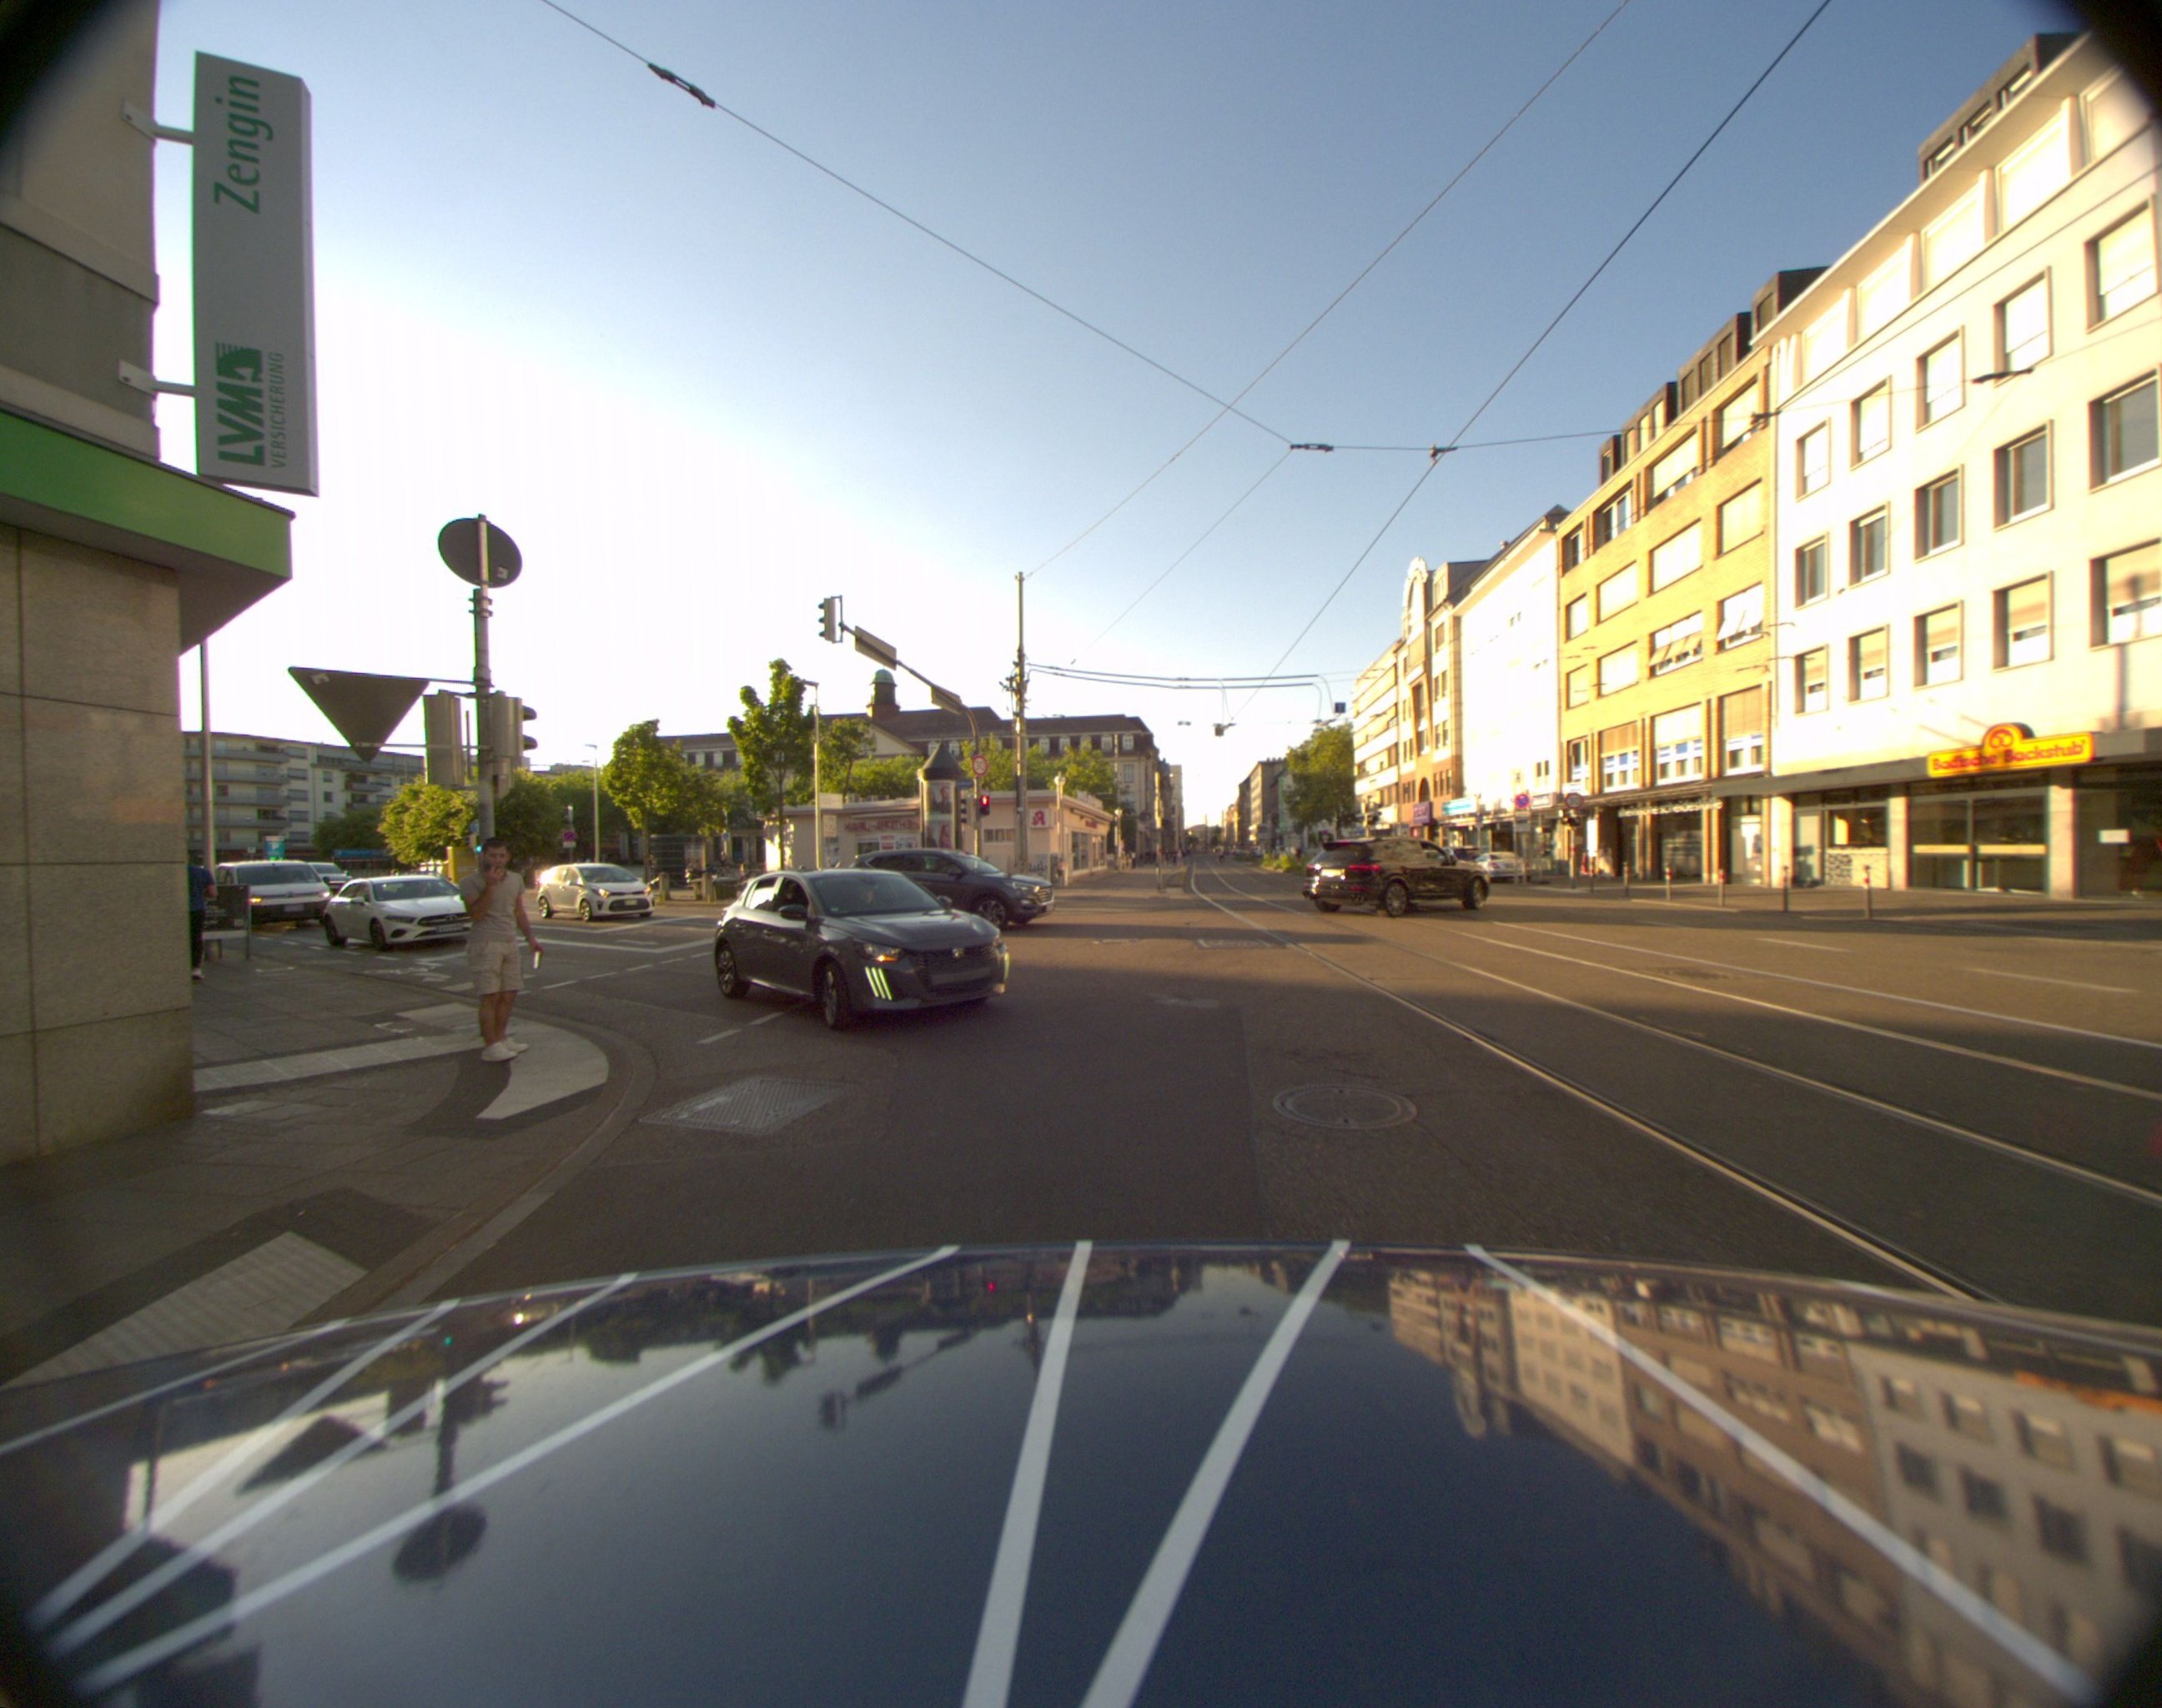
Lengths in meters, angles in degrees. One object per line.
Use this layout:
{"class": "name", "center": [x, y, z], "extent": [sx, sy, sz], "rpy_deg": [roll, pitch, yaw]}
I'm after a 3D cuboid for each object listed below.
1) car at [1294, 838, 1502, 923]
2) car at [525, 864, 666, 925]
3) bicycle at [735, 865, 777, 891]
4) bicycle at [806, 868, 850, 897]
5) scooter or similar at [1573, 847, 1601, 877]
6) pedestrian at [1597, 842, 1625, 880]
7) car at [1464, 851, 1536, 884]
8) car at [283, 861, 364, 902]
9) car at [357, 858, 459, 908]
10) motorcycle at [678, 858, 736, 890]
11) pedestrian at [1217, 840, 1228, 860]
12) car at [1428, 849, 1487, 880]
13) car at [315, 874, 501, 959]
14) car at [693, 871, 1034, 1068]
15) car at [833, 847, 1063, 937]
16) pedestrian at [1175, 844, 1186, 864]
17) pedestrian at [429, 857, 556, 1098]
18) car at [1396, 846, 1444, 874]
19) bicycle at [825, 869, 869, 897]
{"class": "car", "center": [7.172, 0.516, 17.114], "extent": [4.575, 1.688, 1.802], "rpy_deg": [-1, 1, -27]}
{"class": "car", "center": [-13.282, 1.049, 20.729], "extent": [3.974, 1.463, 1.723], "rpy_deg": [-1, 1, 33]}
{"class": "bicycle", "center": [-14.567, 1.049, 34.130], "extent": [0.395, 1.096, 1.815], "rpy_deg": [-1, 1, 32]}
{"class": "bicycle", "center": [-10.535, 1.177, 31.694], "extent": [0.447, 1.107, 1.876], "rpy_deg": [0, 1, 33]}
{"class": "scooter or similar", "center": [21.718, 0.341, 32.639], "extent": [0.395, 1.251, 1.467], "rpy_deg": [-2, 0, 10]}
{"class": "pedestrian", "center": [21.188, 0.274, 30.398], "extent": [0.544, 1.463, 0.625], "rpy_deg": [-4, 0, -7]}
{"class": "car", "center": [18.150, 0.573, 33.064], "extent": [1.635, 1.246, 3.391], "rpy_deg": [-4, -1, 9]}
{"class": "car", "center": [-34.439, 1.215, 34.531], "extent": [3.974, 1.730, 1.833], "rpy_deg": [-1, -1, 33]}
{"class": "car", "center": [-25.109, 1.042, 28.322], "extent": [3.974, 1.730, 1.833], "rpy_deg": [-1, -1, 33]}
{"class": "motorcycle", "center": [-17.481, 0.918, 35.593], "extent": [0.699, 1.437, 2.405], "rpy_deg": [-1, 1, 32]}
{"class": "pedestrian", "center": [14.872, -0.406, 79.726], "extent": [0.716, 2.003, 0.839], "rpy_deg": [-4, 4, -28]}
{"class": "car", "center": [18.629, 0.509, 37.774], "extent": [1.635, 1.345, 3.391], "rpy_deg": [-4, -1, 9]}
{"class": "car", "center": [-14.253, 1.213, 16.053], "extent": [3.974, 1.463, 1.832], "rpy_deg": [-1, 2, 32]}
{"class": "car", "center": [-2.469, 0.966, 8.044], "extent": [1.755, 1.435, 3.894], "rpy_deg": [-5, 3, -44]}
{"class": "car", "center": [-2.695, 0.738, 15.644], "extent": [4.251, 1.688, 1.831], "rpy_deg": [-1, 1, 15]}
{"class": "pedestrian", "center": [10.029, -0.036, 76.611], "extent": [0.838, 2.003, 0.716], "rpy_deg": [1, 5, 38]}
{"class": "pedestrian", "center": [-4.617, 0.898, 5.962], "extent": [0.692, 1.732, 0.655], "rpy_deg": [0, 1, 44]}
{"class": "car", "center": [19.610, 0.361, 44.082], "extent": [1.635, 1.455, 3.391], "rpy_deg": [-4, -1, 9]}
{"class": "bicycle", "center": [-9.642, 1.181, 31.347], "extent": [0.447, 1.107, 1.876], "rpy_deg": [0, 1, 33]}
